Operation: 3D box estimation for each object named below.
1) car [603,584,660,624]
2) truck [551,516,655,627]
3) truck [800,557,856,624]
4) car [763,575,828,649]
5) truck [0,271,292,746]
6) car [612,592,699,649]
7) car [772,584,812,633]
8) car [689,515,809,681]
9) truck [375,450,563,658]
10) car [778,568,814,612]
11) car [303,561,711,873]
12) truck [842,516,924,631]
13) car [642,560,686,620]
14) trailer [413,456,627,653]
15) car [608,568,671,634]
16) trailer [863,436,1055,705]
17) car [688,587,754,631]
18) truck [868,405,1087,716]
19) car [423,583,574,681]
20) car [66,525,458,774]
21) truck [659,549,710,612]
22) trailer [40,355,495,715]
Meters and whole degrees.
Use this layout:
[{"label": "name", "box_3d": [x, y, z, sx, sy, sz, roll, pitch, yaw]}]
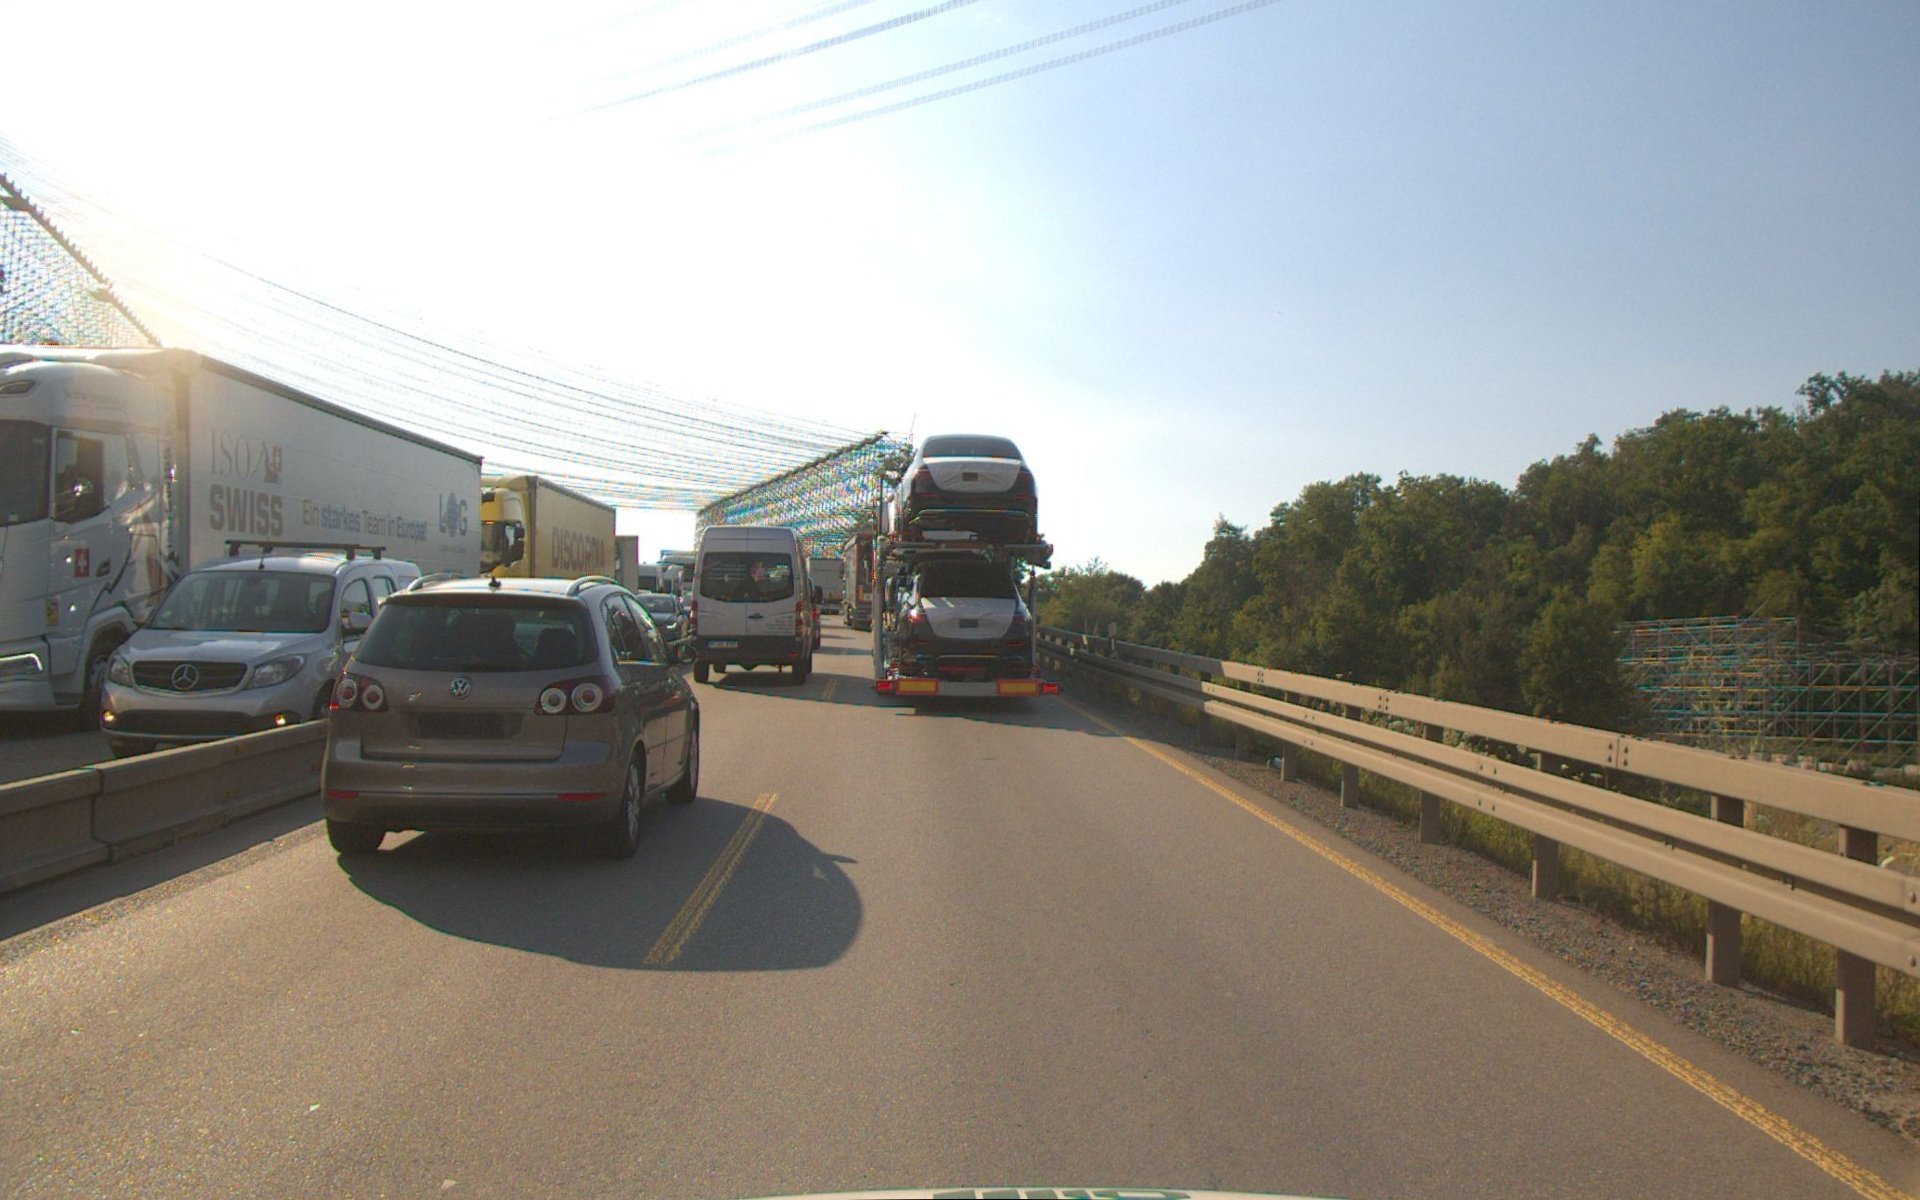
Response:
[{"label": "car", "box_3d": [-13.140, 0.184, 66.417, 1.773, 1.557, 4.043, 0, -1, -5]}, {"label": "truck", "box_3d": [-12.363, -0.868, 57.827, 2.311, 3.593, 7.692, 0, -1, -3]}, {"label": "truck", "box_3d": [-10.134, -0.721, 125.788, 3.580, 4.759, 11.674, 1, 0, -8]}, {"label": "car", "box_3d": [-4.658, 0.369, 47.275, 1.635, 2.019, 3.815, 0, -1, -3]}, {"label": "truck", "box_3d": [-9.773, -0.781, 18.218, 2.394, 4.347, 6.318, 0, -1, -2]}, {"label": "car", "box_3d": [-8.242, 0.583, 45.126, 1.719, 1.475, 4.531, 0, -1, -3]}, {"label": "car", "box_3d": [-7.188, 0.391, 70.914, 1.635, 2.019, 3.814, 0, -1, -5]}, {"label": "car", "box_3d": [-3.658, 0.010, 29.328, 1.941, 2.732, 4.142, 0, -1, -5]}, {"label": "truck", "box_3d": [-10.966, -0.907, 37.544, 2.836, 4.347, 5.766, 0, -1, -4]}, {"label": "car", "box_3d": [-7.888, -0.452, 79.777, 1.635, 2.019, 3.814, 0, -1, -5]}, {"label": "car", "box_3d": [-2.665, 0.652, 10.701, 1.667, 1.615, 4.144, 0, -1, -3]}, {"label": "truck", "box_3d": [-3.619, -1.135, 74.956, 3.165, 4.759, 11.682, 1, 0, -5]}, {"label": "car", "box_3d": [-14.413, -0.488, 80.702, 1.635, 2.813, 4.955, 1, 0, -5]}, {"label": "trailer", "box_3d": [-11.426, -0.874, 44.753, 2.836, 4.471, 14.367, 0, -1, -4]}, {"label": "car", "box_3d": [-14.143, 0.083, 73.210, 2.086, 2.798, 5.499, 0, -1, -4]}, {"label": "trailer", "box_3d": [-0.451, -0.280, 32.723, 2.818, 4.064, 15.265, 0, -1, -4]}, {"label": "car", "box_3d": [-8.841, 0.377, 61.609, 1.953, 1.557, 4.723, 0, -1, -2]}, {"label": "truck", "box_3d": [0.077, -0.449, 24.493, 2.813, 4.050, 5.766, 0, -1, -4]}, {"label": "car", "box_3d": [-7.765, 0.496, 28.142, 1.637, 1.533, 3.845, 1, 0, -3]}, {"label": "car", "box_3d": [-6.242, 0.381, 15.485, 1.796, 1.950, 4.862, 1, 0, -3]}, {"label": "truck", "box_3d": [-18.563, -1.286, 111.746, 2.589, 4.065, 9.020, 1, 0, -5]}, {"label": "trailer", "box_3d": [-10.054, -0.653, 26.033, 2.404, 4.341, 12.139, 0, -1, -2]}]
